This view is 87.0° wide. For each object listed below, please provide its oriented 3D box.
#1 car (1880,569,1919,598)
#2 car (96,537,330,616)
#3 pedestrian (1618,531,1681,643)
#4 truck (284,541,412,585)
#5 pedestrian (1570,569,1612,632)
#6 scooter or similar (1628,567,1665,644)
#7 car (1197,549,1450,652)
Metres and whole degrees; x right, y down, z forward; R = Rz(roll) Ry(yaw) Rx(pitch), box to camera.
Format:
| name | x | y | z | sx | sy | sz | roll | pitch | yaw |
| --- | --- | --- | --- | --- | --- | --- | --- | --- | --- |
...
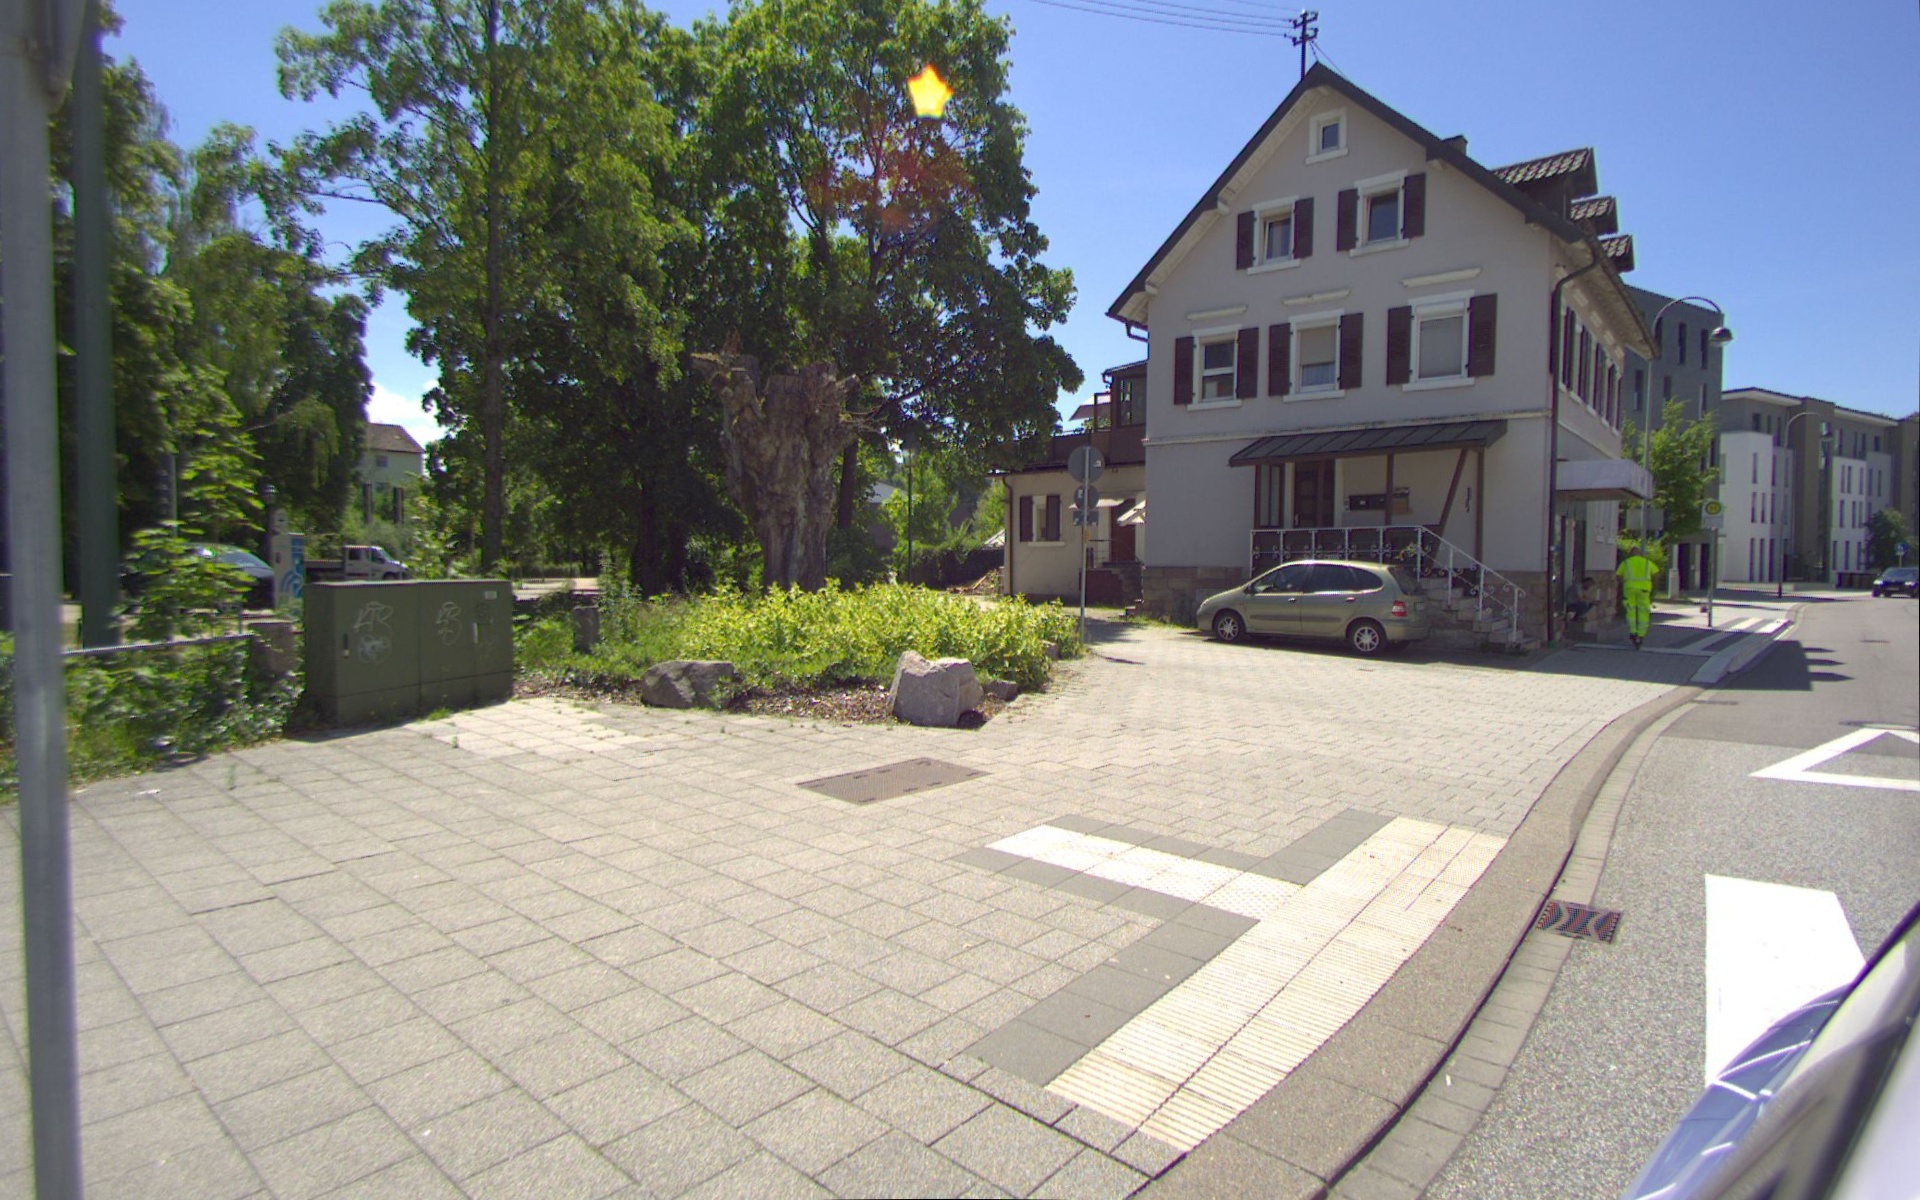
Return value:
| name | x | y | z | sx | sy | sz | roll | pitch | yaw |
| --- | --- | --- | --- | --- | --- | --- | --- | --- | --- |
| car | 53.639 | -0.936 | 57.055 | 3.524 | 1.565 | 1.756 | -2 | 1 | -32 |
| car | -16.287 | -0.550 | 22.172 | 3.931 | 1.621 | 1.840 | 1 | 2 | 7 |
| pedestrian | 13.083 | -0.264 | 19.213 | 0.915 | 2.054 | 0.889 | 2 | 3 | 35 |
| truck | -35.747 | -2.143 | 59.362 | 6.088 | 2.474 | 2.269 | -1 | 0 | -21 |
| pedestrian | 13.486 | -0.007 | 21.622 | 0.681 | 1.301 | 0.573 | 2 | 3 | 37 |
| scooter or similar | 13.053 | 0.080 | 19.242 | 0.524 | 1.390 | 1.331 | 2 | 3 | 34 |
| car | 6.587 | -0.068 | 18.575 | 3.985 | 1.615 | 1.768 | 4 | 3 | 42 |
